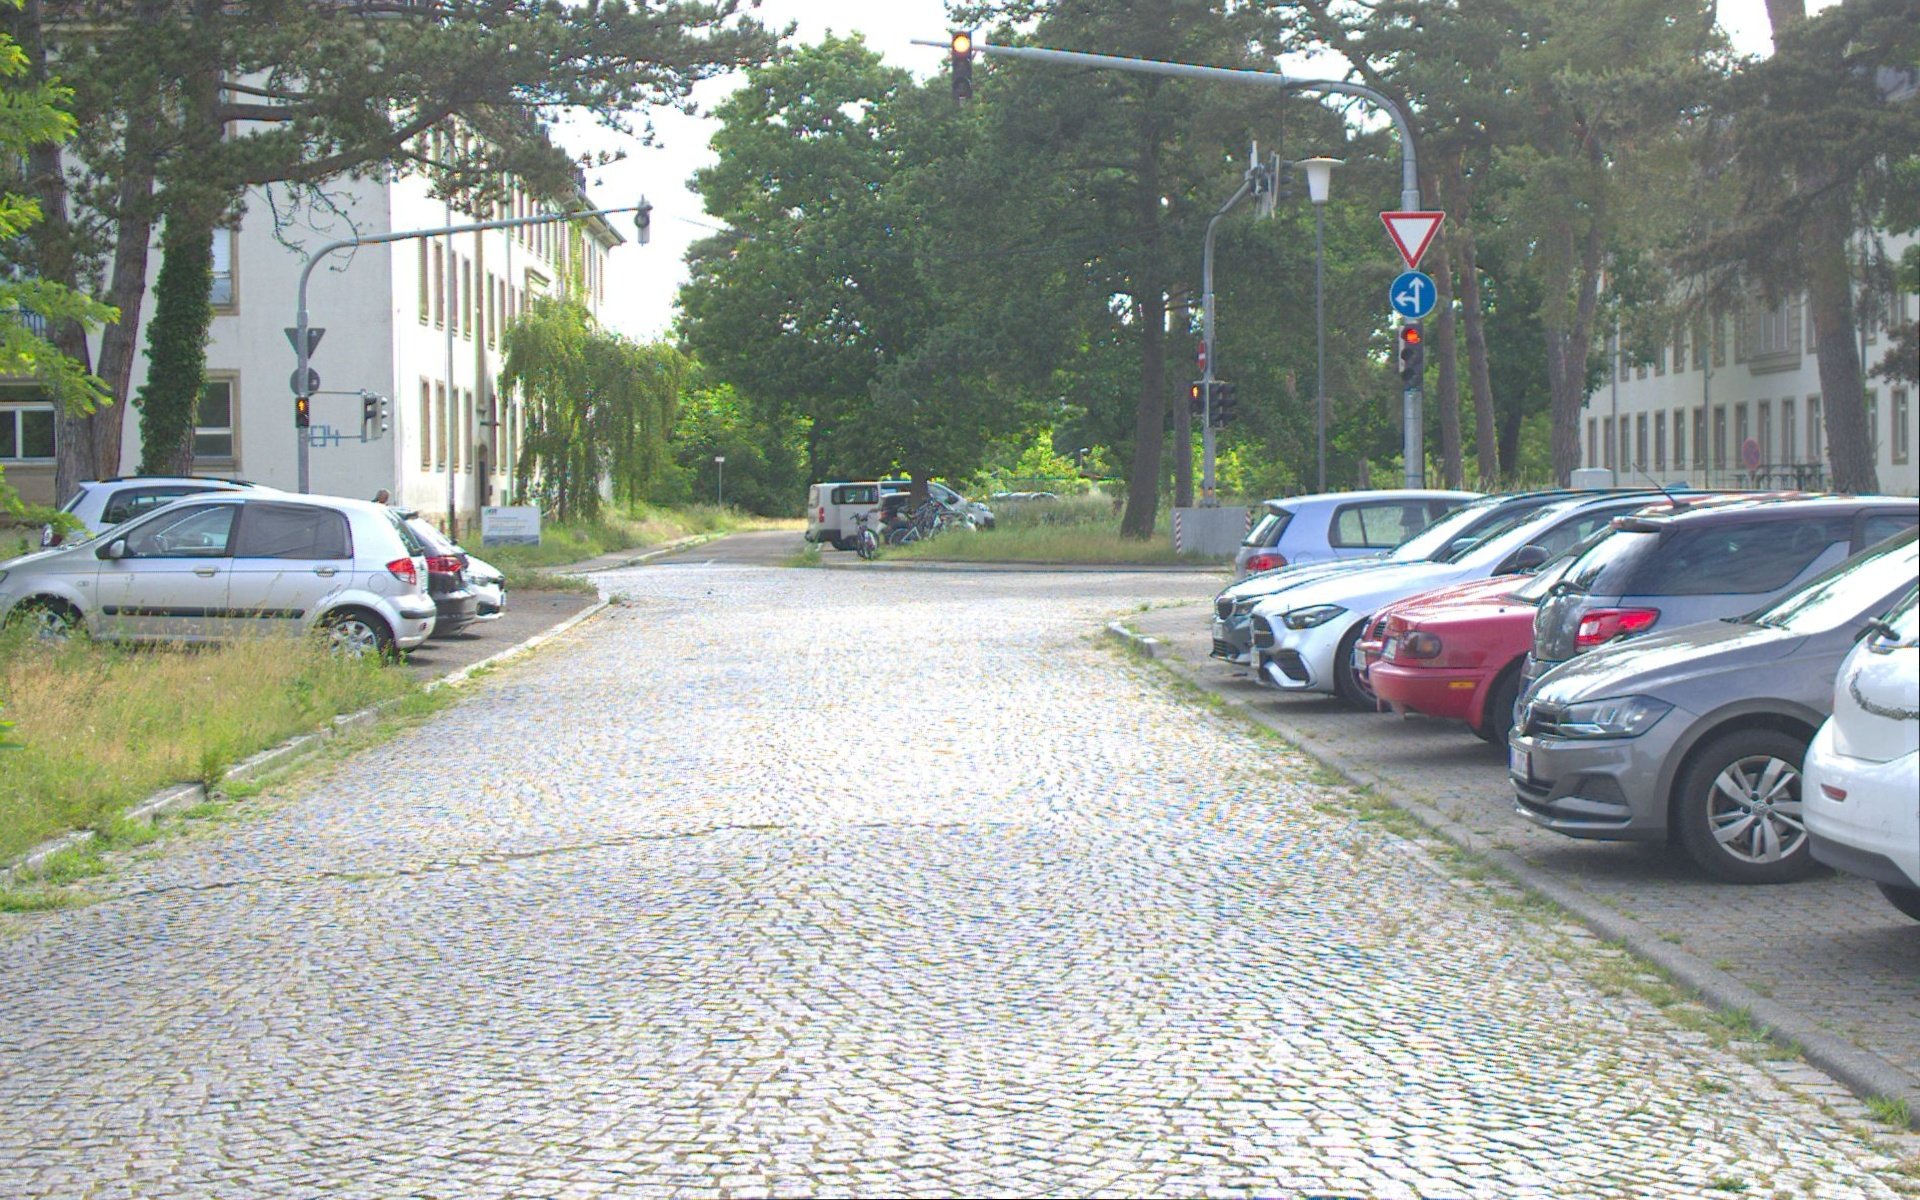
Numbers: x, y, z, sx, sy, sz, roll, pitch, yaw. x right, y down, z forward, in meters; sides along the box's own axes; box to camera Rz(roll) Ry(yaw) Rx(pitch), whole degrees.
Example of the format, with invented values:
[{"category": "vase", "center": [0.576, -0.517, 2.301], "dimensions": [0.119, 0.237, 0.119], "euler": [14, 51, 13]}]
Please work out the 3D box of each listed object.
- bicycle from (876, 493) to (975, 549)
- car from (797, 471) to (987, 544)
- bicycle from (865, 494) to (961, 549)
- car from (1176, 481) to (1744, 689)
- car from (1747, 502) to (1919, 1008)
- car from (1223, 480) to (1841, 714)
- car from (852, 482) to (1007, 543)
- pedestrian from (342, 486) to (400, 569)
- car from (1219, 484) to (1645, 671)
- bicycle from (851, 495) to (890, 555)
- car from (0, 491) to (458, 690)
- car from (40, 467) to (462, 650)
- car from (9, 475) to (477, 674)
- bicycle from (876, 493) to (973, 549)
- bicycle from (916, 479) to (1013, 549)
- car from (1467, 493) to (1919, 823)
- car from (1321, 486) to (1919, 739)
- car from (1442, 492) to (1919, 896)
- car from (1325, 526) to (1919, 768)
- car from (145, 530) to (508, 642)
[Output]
[{"category": "bicycle", "center": [-0.796, -1.803, 78.488], "dimensions": [2.160, 1.264, 0.813], "euler": [0, 2, -8]}, {"category": "car", "center": [-1.913, -2.592, 96.278], "dimensions": [5.049, 2.006, 2.001], "euler": [0, 2, -12]}, {"category": "bicycle", "center": [-1.092, -1.844, 80.282], "dimensions": [2.160, 1.264, 0.813], "euler": [0, 2, -8]}, {"category": "car", "center": [3.889, -0.149, 27.053], "dimensions": [4.122, 1.538, 1.665], "euler": [-1, 2, -7]}, {"category": "car", "center": [4.430, 0.428, 11.217], "dimensions": [3.292, 1.499, 1.664], "euler": [-1, 2, -3]}, {"category": "car", "center": [3.982, -0.056, 24.242], "dimensions": [3.986, 1.538, 1.665], "euler": [-1, 2, -7]}, {"category": "car", "center": [-0.847, -2.376, 93.029], "dimensions": [3.986, 1.638, 2.001], "euler": [0, 2, -7]}, {"category": "pedestrian", "center": [-10.716, -1.319, 62.570], "dimensions": [0.898, 1.493, 0.904], "euler": [0, 2, -1]}, {"category": "car", "center": [4.039, -0.218, 29.627], "dimensions": [3.388, 1.538, 1.391], "euler": [-1, 2, -7]}, {"category": "bicycle", "center": [-1.936, -1.640, 74.703], "dimensions": [0.810, 1.264, 1.973], "euler": [0, 2, -1]}, {"category": "car", "center": [-6.205, -0.110, 28.577], "dimensions": [3.986, 1.546, 2.001], "euler": [-1, 2, -8]}, {"category": "car", "center": [-6.957, -0.440, 34.099], "dimensions": [3.986, 1.744, 1.928], "euler": [0, 2, -8]}, {"category": "car", "center": [-6.392, -0.268, 31.064], "dimensions": [3.986, 1.700, 2.001], "euler": [-1, 2, -8]}, {"category": "bicycle", "center": [-0.818, -1.815, 79.075], "dimensions": [2.160, 1.264, 0.813], "euler": [0, 2, -8]}, {"category": "bicycle", "center": [0.091, -1.992, 79.802], "dimensions": [2.160, 1.610, 0.813], "euler": [0, 2, -8]}, {"category": "car", "center": [4.367, 0.229, 17.056], "dimensions": [3.291, 1.499, 1.665], "euler": [-1, 2, -12]}, {"category": "car", "center": [4.457, 0.040, 22.019], "dimensions": [3.986, 1.538, 1.664], "euler": [0, 2, -7]}, {"category": "car", "center": [3.983, 0.314, 14.168], "dimensions": [3.597, 1.501, 1.665], "euler": [-1, 2, -12]}, {"category": "car", "center": [3.904, 0.236, 19.763], "dimensions": [3.291, 1.263, 1.665], "euler": [-1, 2, -7]}, {"category": "car", "center": [-6.634, -0.168, 36.289], "dimensions": [3.670, 1.090, 1.647], "euler": [-1, 2, -8]}]
